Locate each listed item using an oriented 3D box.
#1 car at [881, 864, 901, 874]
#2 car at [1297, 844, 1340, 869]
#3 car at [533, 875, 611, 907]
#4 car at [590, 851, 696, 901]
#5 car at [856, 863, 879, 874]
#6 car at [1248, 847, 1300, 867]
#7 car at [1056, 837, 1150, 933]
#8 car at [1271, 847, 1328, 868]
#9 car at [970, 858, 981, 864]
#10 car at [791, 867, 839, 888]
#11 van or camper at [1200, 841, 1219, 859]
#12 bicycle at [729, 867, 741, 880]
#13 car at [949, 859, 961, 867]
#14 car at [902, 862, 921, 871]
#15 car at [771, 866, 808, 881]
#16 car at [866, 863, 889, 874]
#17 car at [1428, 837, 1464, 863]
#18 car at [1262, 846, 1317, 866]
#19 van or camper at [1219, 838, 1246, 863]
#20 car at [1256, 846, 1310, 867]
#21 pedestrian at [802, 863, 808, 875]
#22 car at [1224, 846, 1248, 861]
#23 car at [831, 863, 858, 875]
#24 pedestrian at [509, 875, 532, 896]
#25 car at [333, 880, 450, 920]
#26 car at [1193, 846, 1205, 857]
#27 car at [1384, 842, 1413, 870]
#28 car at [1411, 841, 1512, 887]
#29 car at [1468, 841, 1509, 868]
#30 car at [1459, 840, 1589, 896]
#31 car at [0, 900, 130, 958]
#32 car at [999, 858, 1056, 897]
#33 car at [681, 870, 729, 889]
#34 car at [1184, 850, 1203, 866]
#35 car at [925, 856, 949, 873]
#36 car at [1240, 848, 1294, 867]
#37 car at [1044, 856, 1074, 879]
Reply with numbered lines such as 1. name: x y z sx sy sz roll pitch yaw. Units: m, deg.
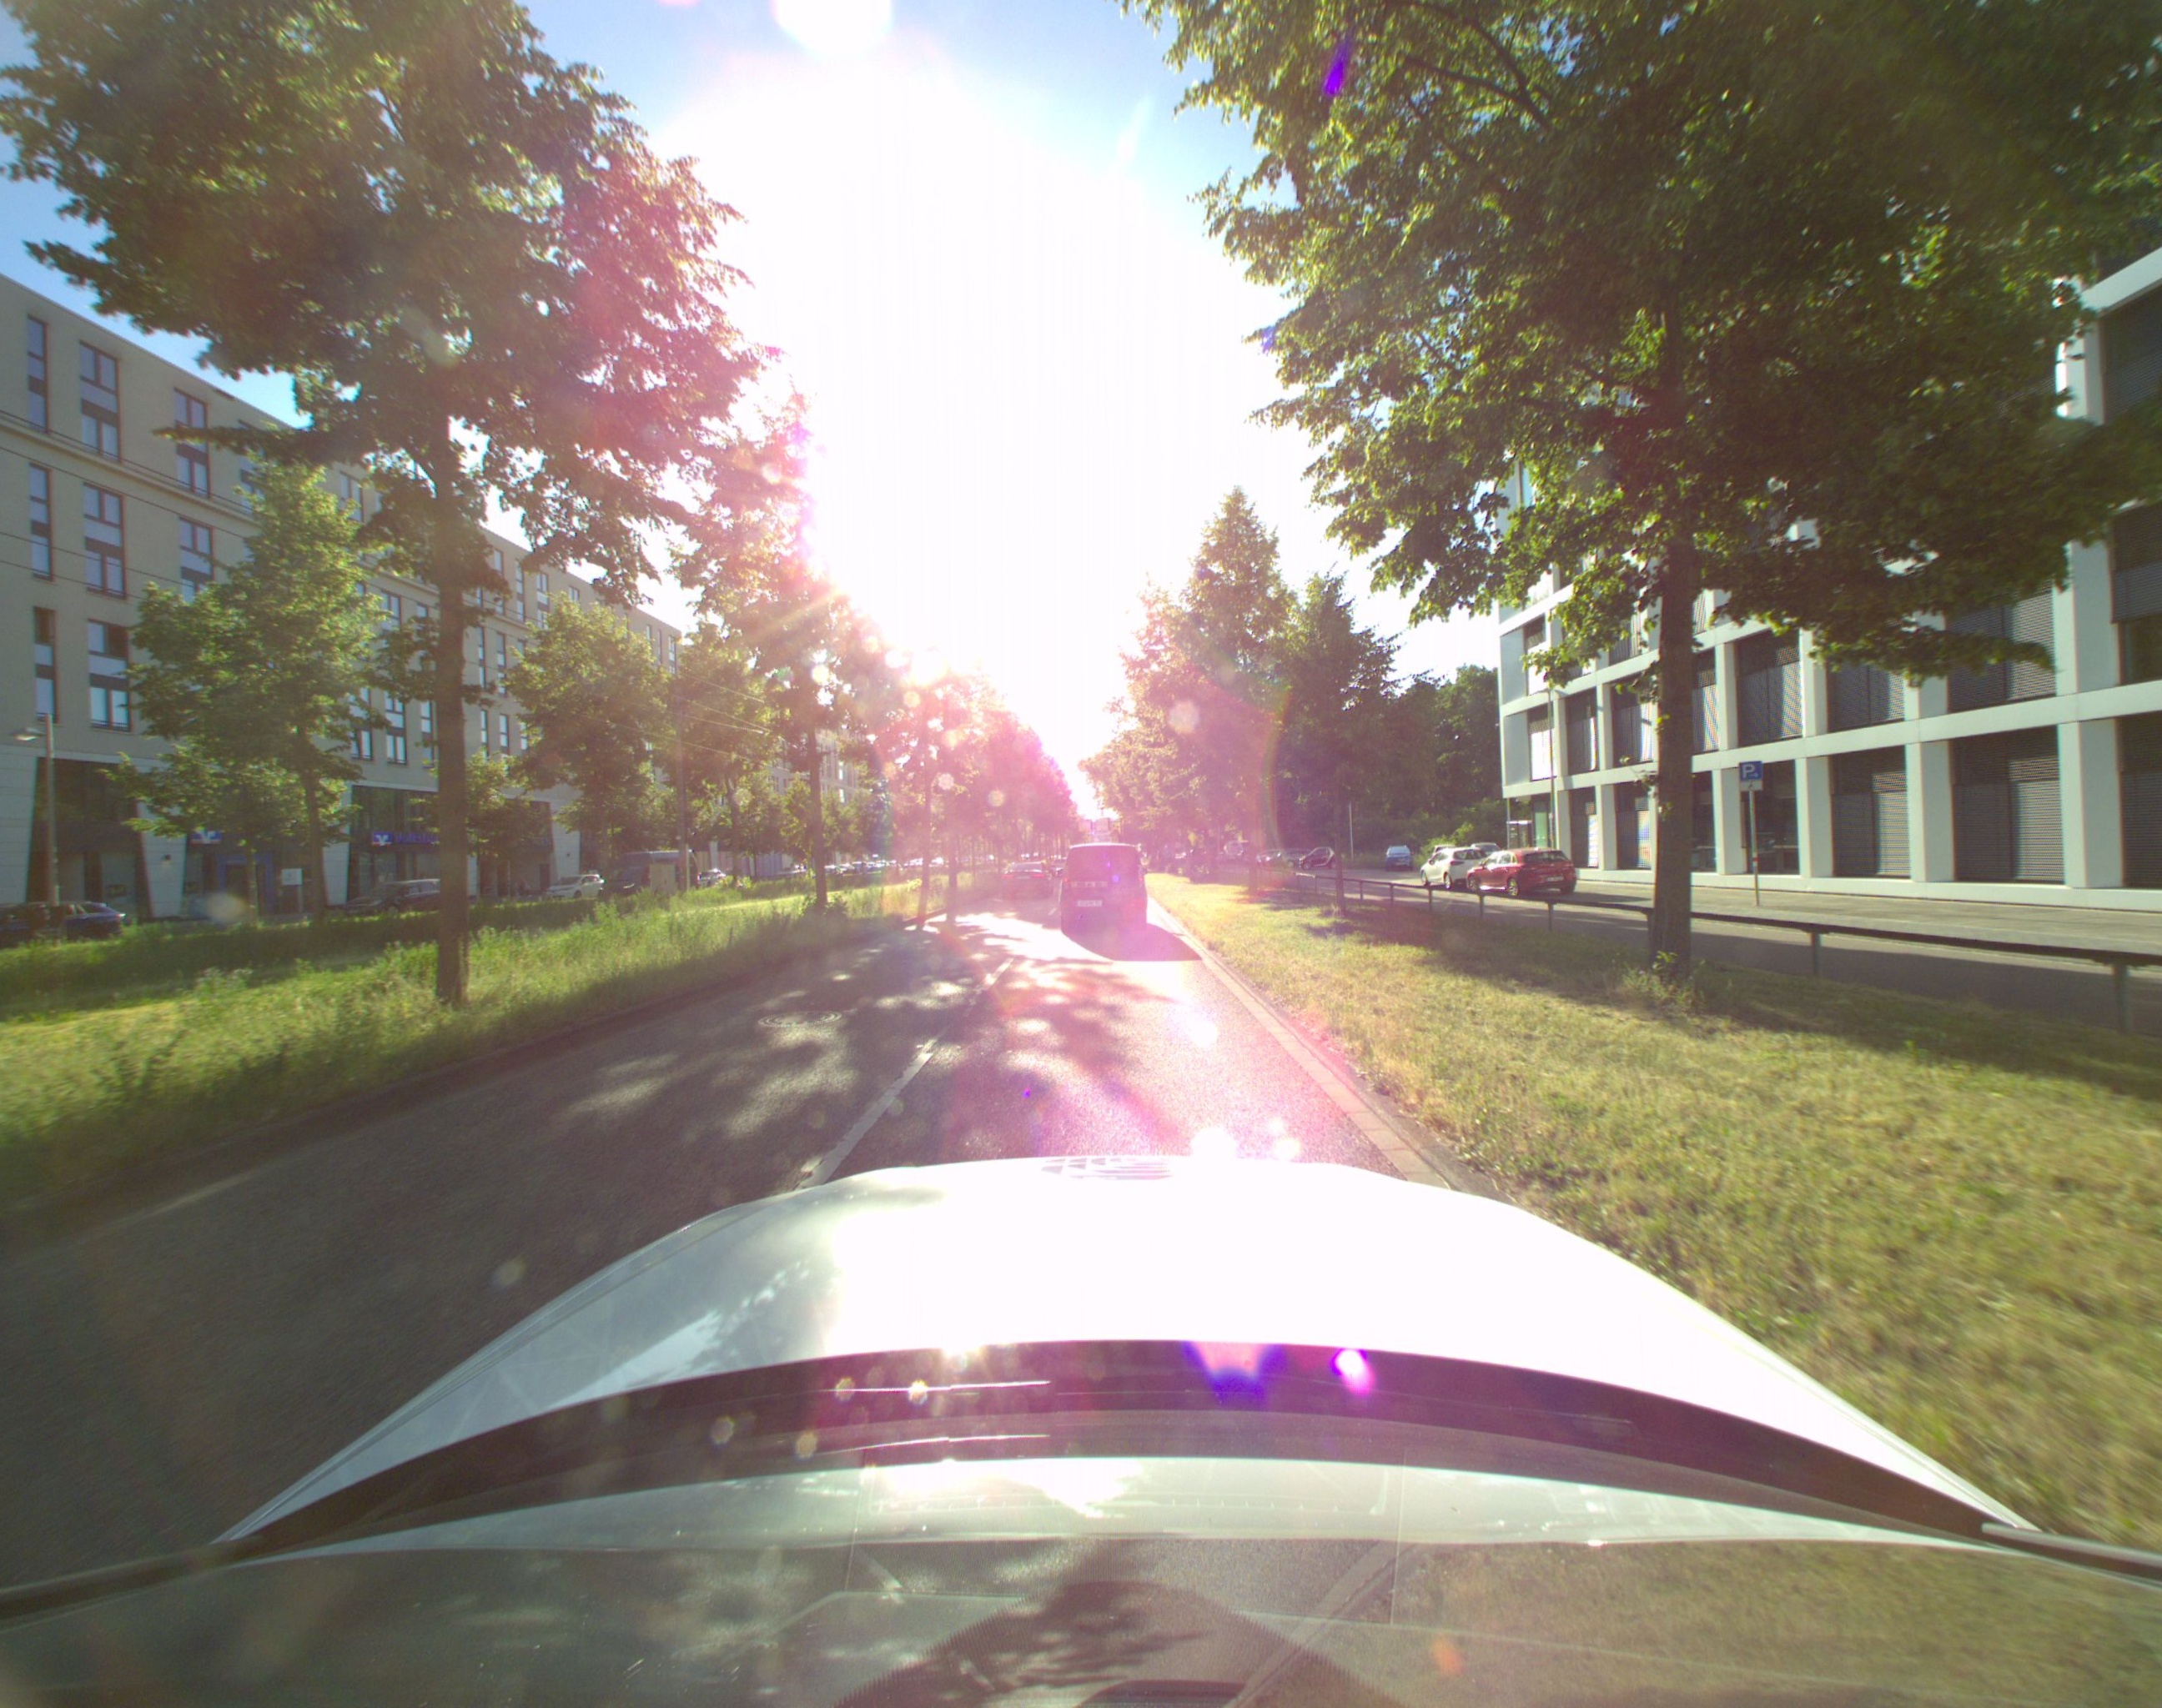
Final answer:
1. car: -28.295 2.188 121.318 1.987 1.441 4.454 0 0 -1
2. car: 16.687 0.169 57.280 2.748 1.550 1.466 -3 -1 10
3. car: -30.205 2.133 48.496 1.987 1.729 4.337 0 0 -1
4. car: -22.508 1.068 42.220 2.500 2.381 6.022 0 0 -3
5. car: -28.478 1.945 108.812 1.987 1.441 4.454 0 0 -1
6. car: 18.027 0.245 76.341 4.361 1.411 2.002 -6 0 4
7. car: 0.389 0.610 17.741 1.803 1.838 3.998 0 0 -1
8. car: 17.406 0.276 64.960 4.064 1.468 1.716 -3 -1 2
9. car: -25.845 1.697 199.721 1.985 1.608 4.614 0 0 3
10. car: -19.080 1.666 58.652 1.987 1.441 4.456 0 0 1
11. van or camper: 20.636 -0.709 131.348 2.543 2.684 6.576 -4 0 6
12. bicycle: -36.050 2.025 84.802 0.596 1.281 1.608 0 -1 0
13. car: -27.427 2.013 177.374 1.871 1.621 4.614 0 0 3
14. car: -27.548 1.962 132.396 1.950 1.441 4.267 0 0 2
15. car: -29.243 1.935 81.839 1.987 1.441 4.923 0 0 -1
16. car: -28.640 1.987 114.621 1.987 1.441 4.935 0 0 -1
17. car: 22.218 -0.213 49.688 1.732 1.536 3.901 -1 0 20
18. car: 17.970 0.172 70.299 4.179 1.498 1.781 -3 0 -2
19. van or camper: 17.833 -0.368 95.861 1.988 2.731 4.961 -5 0 -1
20. car: 18.263 0.214 73.722 4.317 1.477 1.905 -4 1 -2
21. pedestrian: -38.328 2.032 113.043 0.635 1.651 0.718 0 -1 -6
22. car: 17.096 -0.017 90.158 1.986 1.574 4.001 0 0 1
23. car: -28.515 1.808 98.277 1.987 1.441 4.777 0 0 -1
24. pedestrian: -38.534 2.157 55.989 0.946 1.468 1.025 0 -1 -8
25. car: -30.049 1.967 35.687 1.554 1.480 4.268 -1 0 -2
26. car: 22.109 -0.424 153.148 2.076 2.013 4.951 -1 0 6
27. car: 19.574 0.108 50.229 1.579 1.545 3.840 -3 1 21
28. car: 14.360 0.362 31.038 1.985 1.486 4.407 -5 -1 4
29. car: 24.327 0.034 48.734 1.703 1.540 3.971 -1 0 20
30. car: 13.970 0.427 26.010 1.858 1.486 4.274 -5 -1 2
31. car: -30.573 2.179 23.275 1.718 1.413 4.334 -2 0 -2
32. car: -2.014 0.870 31.519 1.785 1.428 4.002 0 0 2
33. car: -29.586 1.995 64.219 1.987 1.441 4.018 0 0 -1
34. car: 12.660 0.454 91.421 1.981 1.640 4.011 0 0 9
35. car: -17.866 1.292 101.064 1.984 2.014 4.005 0 0 4
36. car: 18.100 0.302 79.300 4.702 1.406 2.001 -5 0 1
37. car: -1.567 0.976 59.829 1.986 1.618 4.002 0 0 2
